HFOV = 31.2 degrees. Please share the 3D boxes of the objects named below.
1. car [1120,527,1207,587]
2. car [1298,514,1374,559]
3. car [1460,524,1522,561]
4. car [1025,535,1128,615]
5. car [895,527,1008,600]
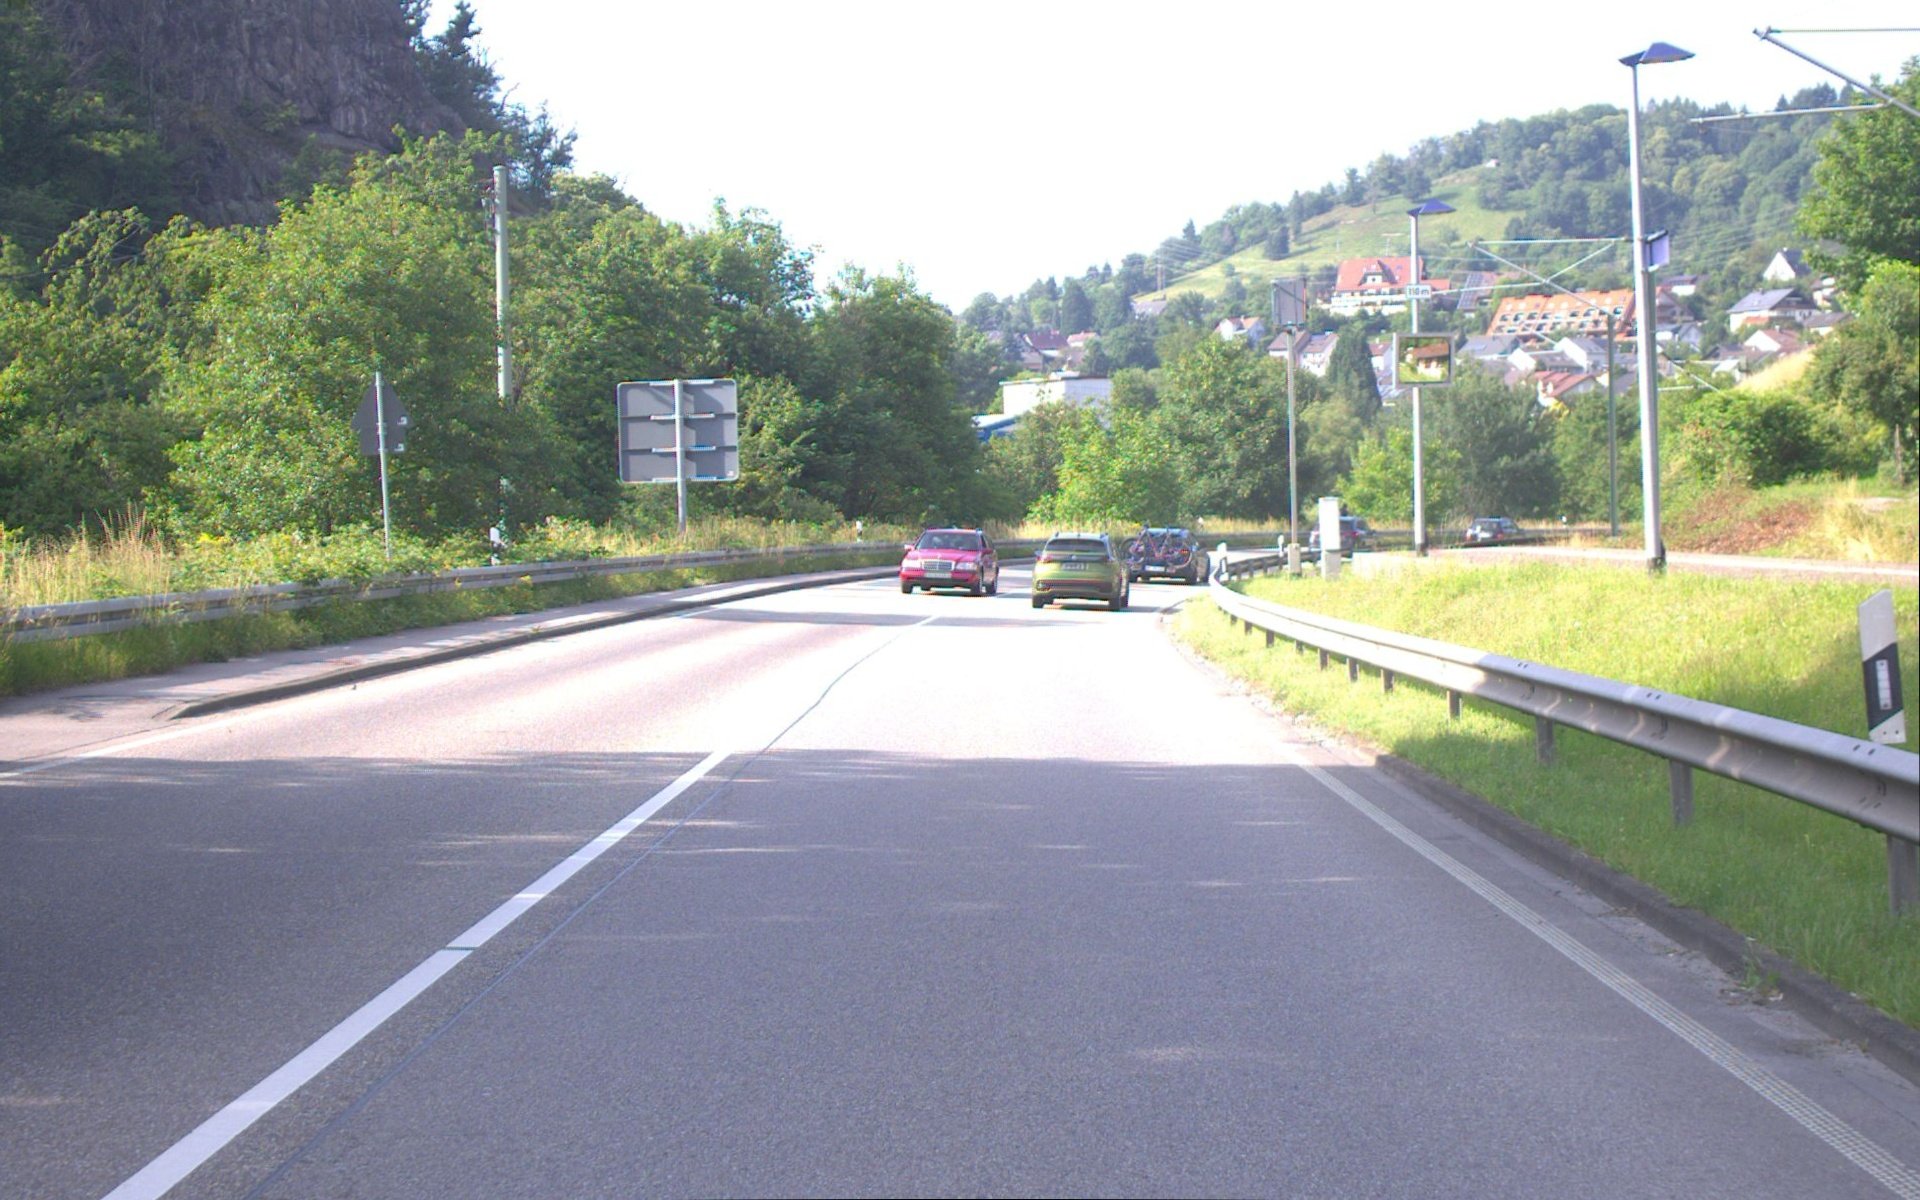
[{"bbox_3d":[5.326,-1.131,89.660,1.841,1.454,3.712,-2,1,10],"label":"car"},{"bbox_3d":[13.082,-2.225,119.433,1.808,1.448,3.644,-2,1,19],"label":"car"},{"bbox_3d":[22.041,-2.384,142.545,1.810,1.403,3.770,-2,1,20],"label":"car"},{"bbox_3d":[2.322,-0.502,67.676,1.729,1.452,3.410,-2,1,6],"label":"car"},{"bbox_3d":[-0.139,-0.831,75.089,1.842,1.464,4.942,2,2,7],"label":"car"}]
